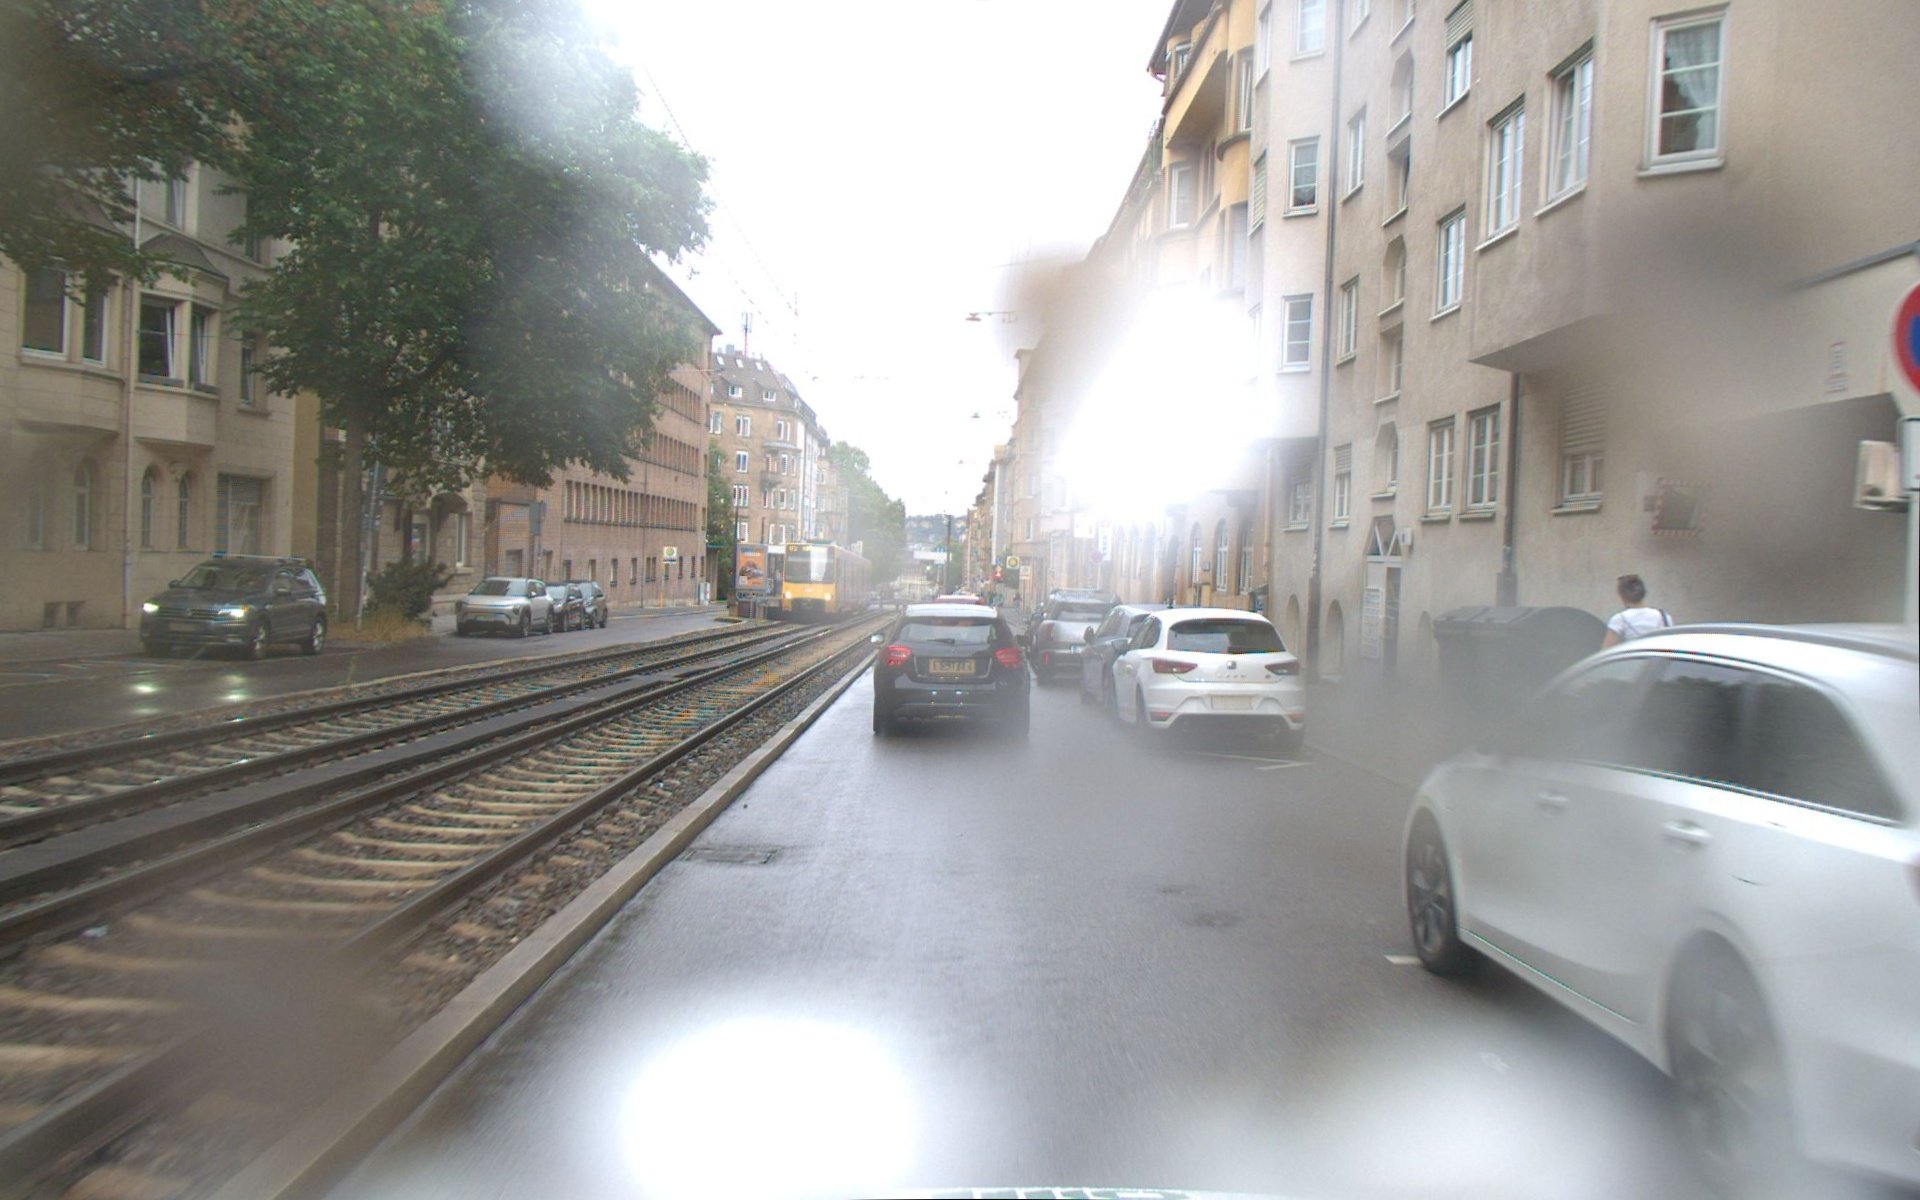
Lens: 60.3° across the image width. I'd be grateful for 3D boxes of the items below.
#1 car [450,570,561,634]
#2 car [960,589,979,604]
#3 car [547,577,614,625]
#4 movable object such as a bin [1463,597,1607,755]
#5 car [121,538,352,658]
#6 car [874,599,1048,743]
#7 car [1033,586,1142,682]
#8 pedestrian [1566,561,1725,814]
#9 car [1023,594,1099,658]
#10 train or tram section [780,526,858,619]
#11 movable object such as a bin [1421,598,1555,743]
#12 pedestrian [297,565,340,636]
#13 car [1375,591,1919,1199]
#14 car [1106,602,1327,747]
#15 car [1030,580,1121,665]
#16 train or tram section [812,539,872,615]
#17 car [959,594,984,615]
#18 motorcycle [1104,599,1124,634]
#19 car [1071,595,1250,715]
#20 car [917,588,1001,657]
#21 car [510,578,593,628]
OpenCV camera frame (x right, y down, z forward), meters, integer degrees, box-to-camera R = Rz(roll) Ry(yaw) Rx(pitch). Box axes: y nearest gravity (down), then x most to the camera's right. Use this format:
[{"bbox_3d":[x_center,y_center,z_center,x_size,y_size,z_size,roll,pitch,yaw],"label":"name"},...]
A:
[{"bbox_3d":[-12.576,0.031,46.042,1.921,1.633,4.328,2,1,-1],"label":"car"},{"bbox_3d":[1.025,-0.360,180.919,2.091,1.552,4.245,2,0,0],"label":"car"},{"bbox_3d":[-12.562,0.006,54.864,1.540,1.492,3.044,2,0,-2],"label":"car"},{"bbox_3d":[5.702,0.728,16.481,0.960,1.494,1.272,1,-1,-1],"label":"movable object such as a bin"},{"bbox_3d":[-12.415,-0.062,28.775,1.914,1.772,4.777,5,1,-2],"label":"car"},{"bbox_3d":[0.005,0.750,19.464,1.797,1.478,3.901,1,0,0],"label":"car"},{"bbox_3d":[2.327,0.605,31.126,1.803,1.636,4.761,1,0,2],"label":"car"},{"bbox_3d":[4.836,0.604,11.707,0.788,1.717,0.754,1,-1,-1],"label":"pedestrian"},{"bbox_3d":[2.522,0.651,41.936,1.559,1.465,3.308,3,-1,-2],"label":"car"},{"bbox_3d":[-6.861,-1.289,82.721,2.690,4.132,17.210,1,0,-1],"label":"train or tram section"},{"bbox_3d":[5.714,0.740,17.977,0.997,1.494,1.322,1,-1,-1],"label":"movable object such as a bin"},{"bbox_3d":[-15.640,0.017,40.336,0.713,1.692,0.770,2,0,-1],"label":"pedestrian"},{"bbox_3d":[2.839,0.761,5.531,1.677,1.493,4.773,1,0,0],"label":"car"},{"bbox_3d":[2.750,0.756,18.669,1.753,1.410,4.394,1,0,-1],"label":"car"},{"bbox_3d":[2.549,0.496,37.320,1.742,1.780,4.548,1,0,0],"label":"car"},{"bbox_3d":[-6.931,-1.316,98.956,2.690,4.132,15.657,1,0,-1],"label":"train or tram section"},{"bbox_3d":[0.949,0.342,130.113,1.848,1.552,4.246,2,0,1],"label":"car"},{"bbox_3d":[5.598,0.583,60.209,0.545,1.180,2.269,-3,0,2],"label":"motorcycle"},{"bbox_3d":[2.715,0.716,23.339,1.795,1.493,4.373,1,0,-3],"label":"car"},{"bbox_3d":[-0.019,0.540,41.681,1.953,1.552,4.245,2,0,0],"label":"car"},{"bbox_3d":[-12.580,0.067,51.100,1.633,1.440,3.687,2,1,-1],"label":"car"}]
